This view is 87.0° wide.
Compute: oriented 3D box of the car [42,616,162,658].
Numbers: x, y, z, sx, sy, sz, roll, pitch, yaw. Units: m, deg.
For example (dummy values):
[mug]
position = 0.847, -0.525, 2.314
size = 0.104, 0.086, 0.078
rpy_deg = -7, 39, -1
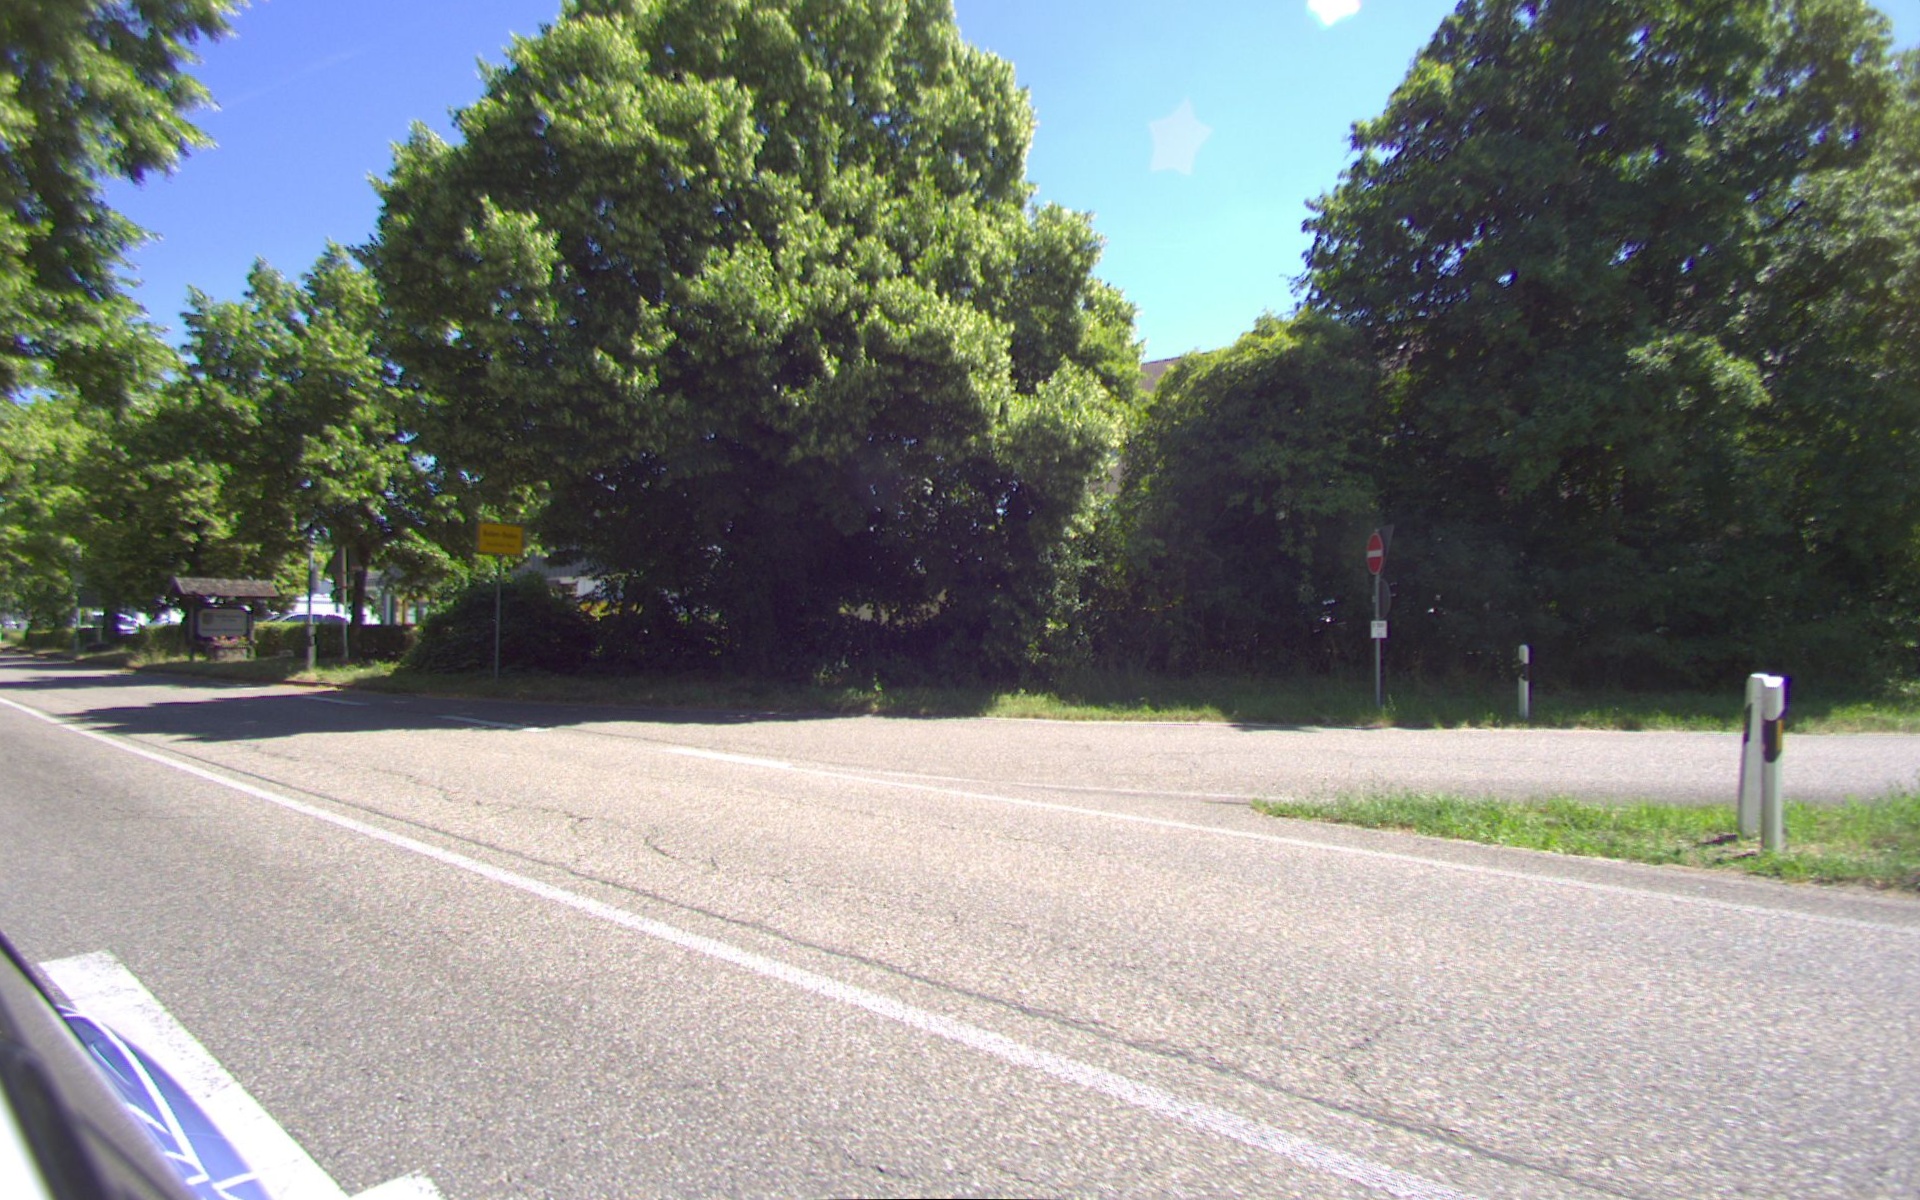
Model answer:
[car]
position = -43.466, 1.809, 51.344
size = 1.901, 1.995, 4.318
rpy_deg = 0, -1, 35
